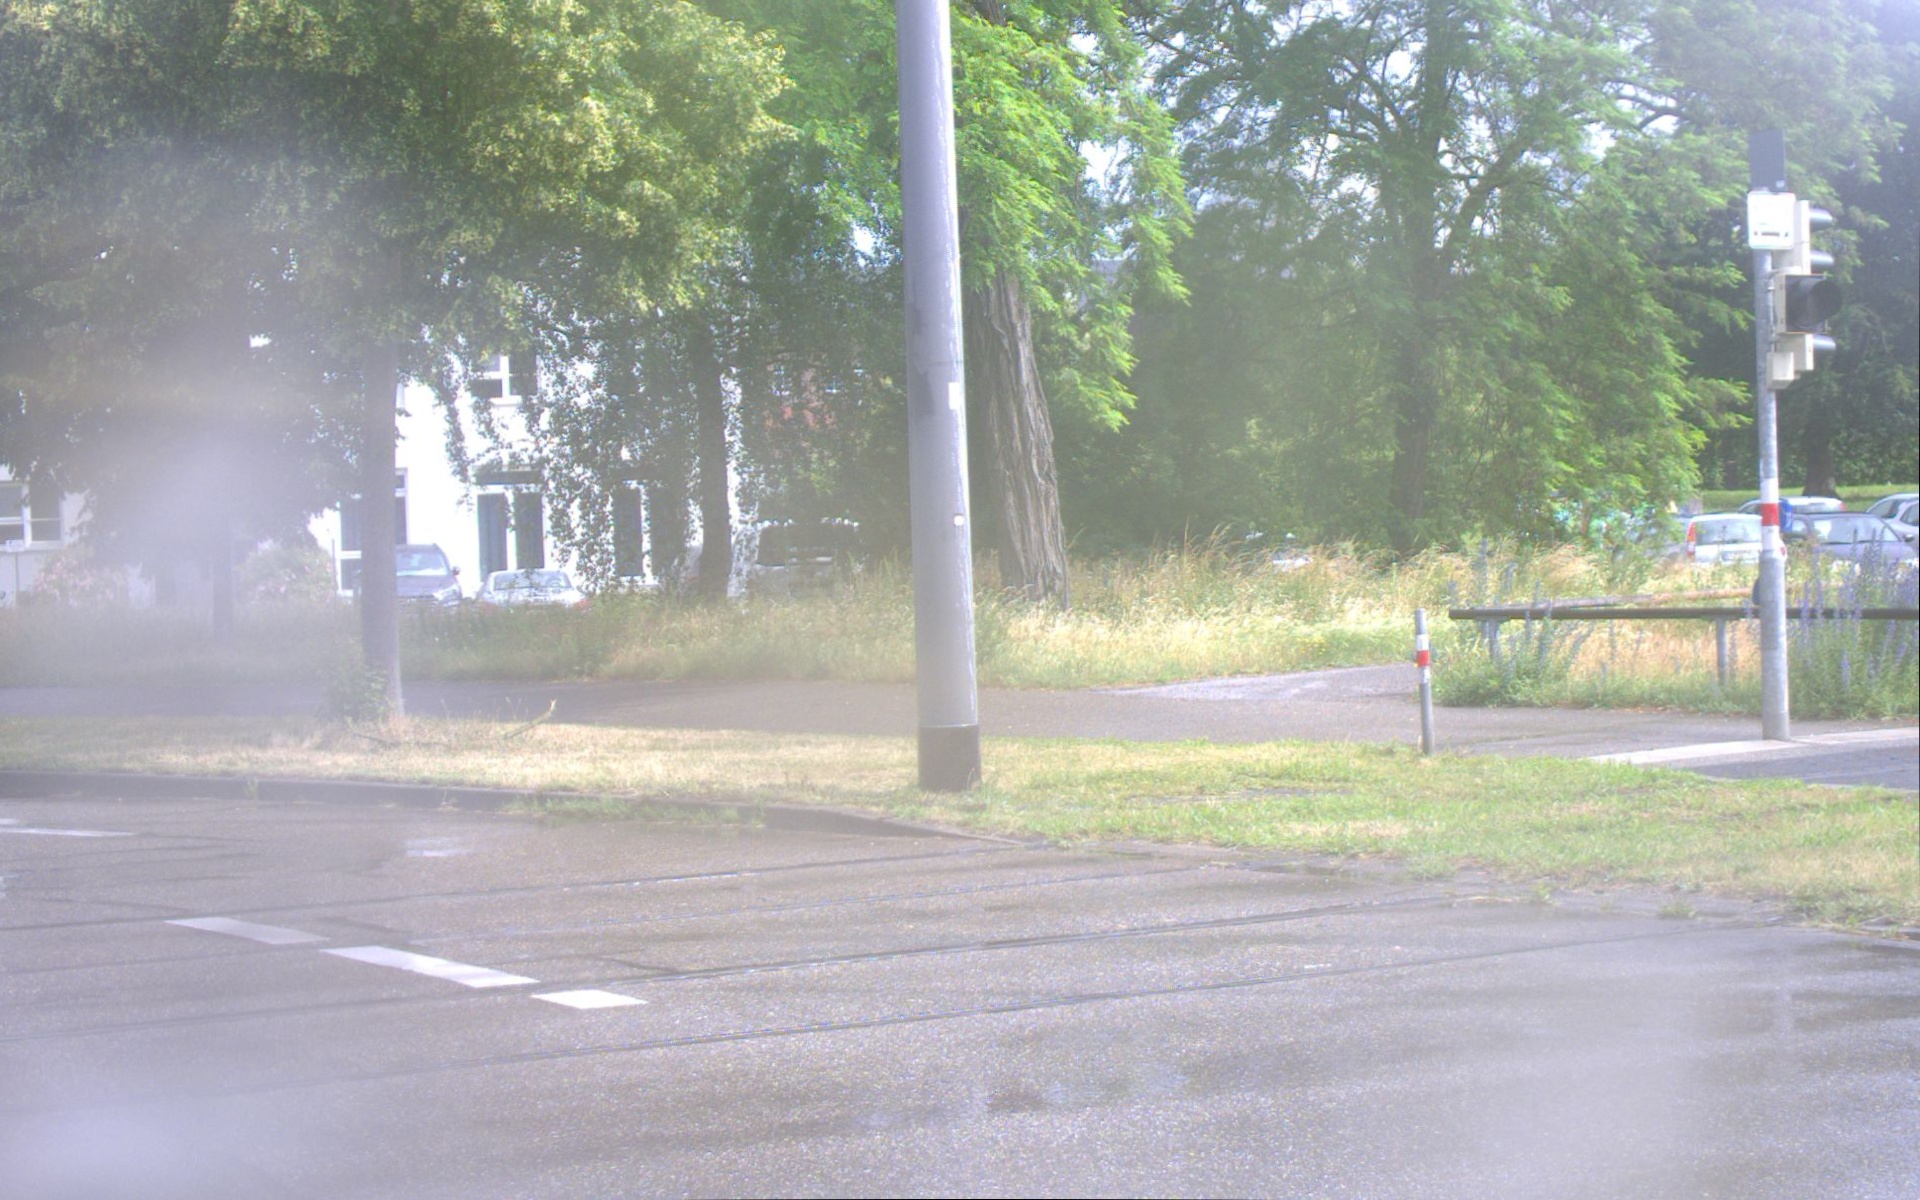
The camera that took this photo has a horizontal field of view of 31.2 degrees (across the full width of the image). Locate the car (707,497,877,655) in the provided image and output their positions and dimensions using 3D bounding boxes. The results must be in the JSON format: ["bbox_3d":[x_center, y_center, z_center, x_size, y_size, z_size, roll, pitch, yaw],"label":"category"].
[{"bbox_3d":[-2.503,-0.409,49.956,2.106,2.050,5.163,-3,2,-6],"label":"car"}]

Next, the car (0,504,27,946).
[{"bbox_3d":[-5.080,0.493,14.107,1.897,1.612,4.001,-4,2,-21],"label":"car"}]

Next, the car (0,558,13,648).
[{"bbox_3d":[-17.339,0.051,59.426,1.670,1.477,3.741,-1,2,-13],"label":"car"}]

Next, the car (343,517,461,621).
[{"bbox_3d":[-9.777,-0.567,60.054,1.845,1.546,4.108,-2,4,-11],"label":"car"}]

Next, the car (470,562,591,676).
[{"bbox_3d":[-6.133,0.240,49.195,1.603,1.504,3.621,-2,1,-7],"label":"car"}]

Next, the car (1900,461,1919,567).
[{"bbox_3d":[15.889,-1.349,52.808,1.545,1.653,3.651,-2,1,-6],"label":"car"}]

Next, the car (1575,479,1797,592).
[{"bbox_3d":[10.740,-0.952,51.132,1.844,1.554,3.980,-2,1,-10],"label":"car"}]

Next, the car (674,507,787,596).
[{"bbox_3d":[-4.089,-0.879,60.864,1.657,1.341,3.583,-2,4,-8],"label":"car"}]
